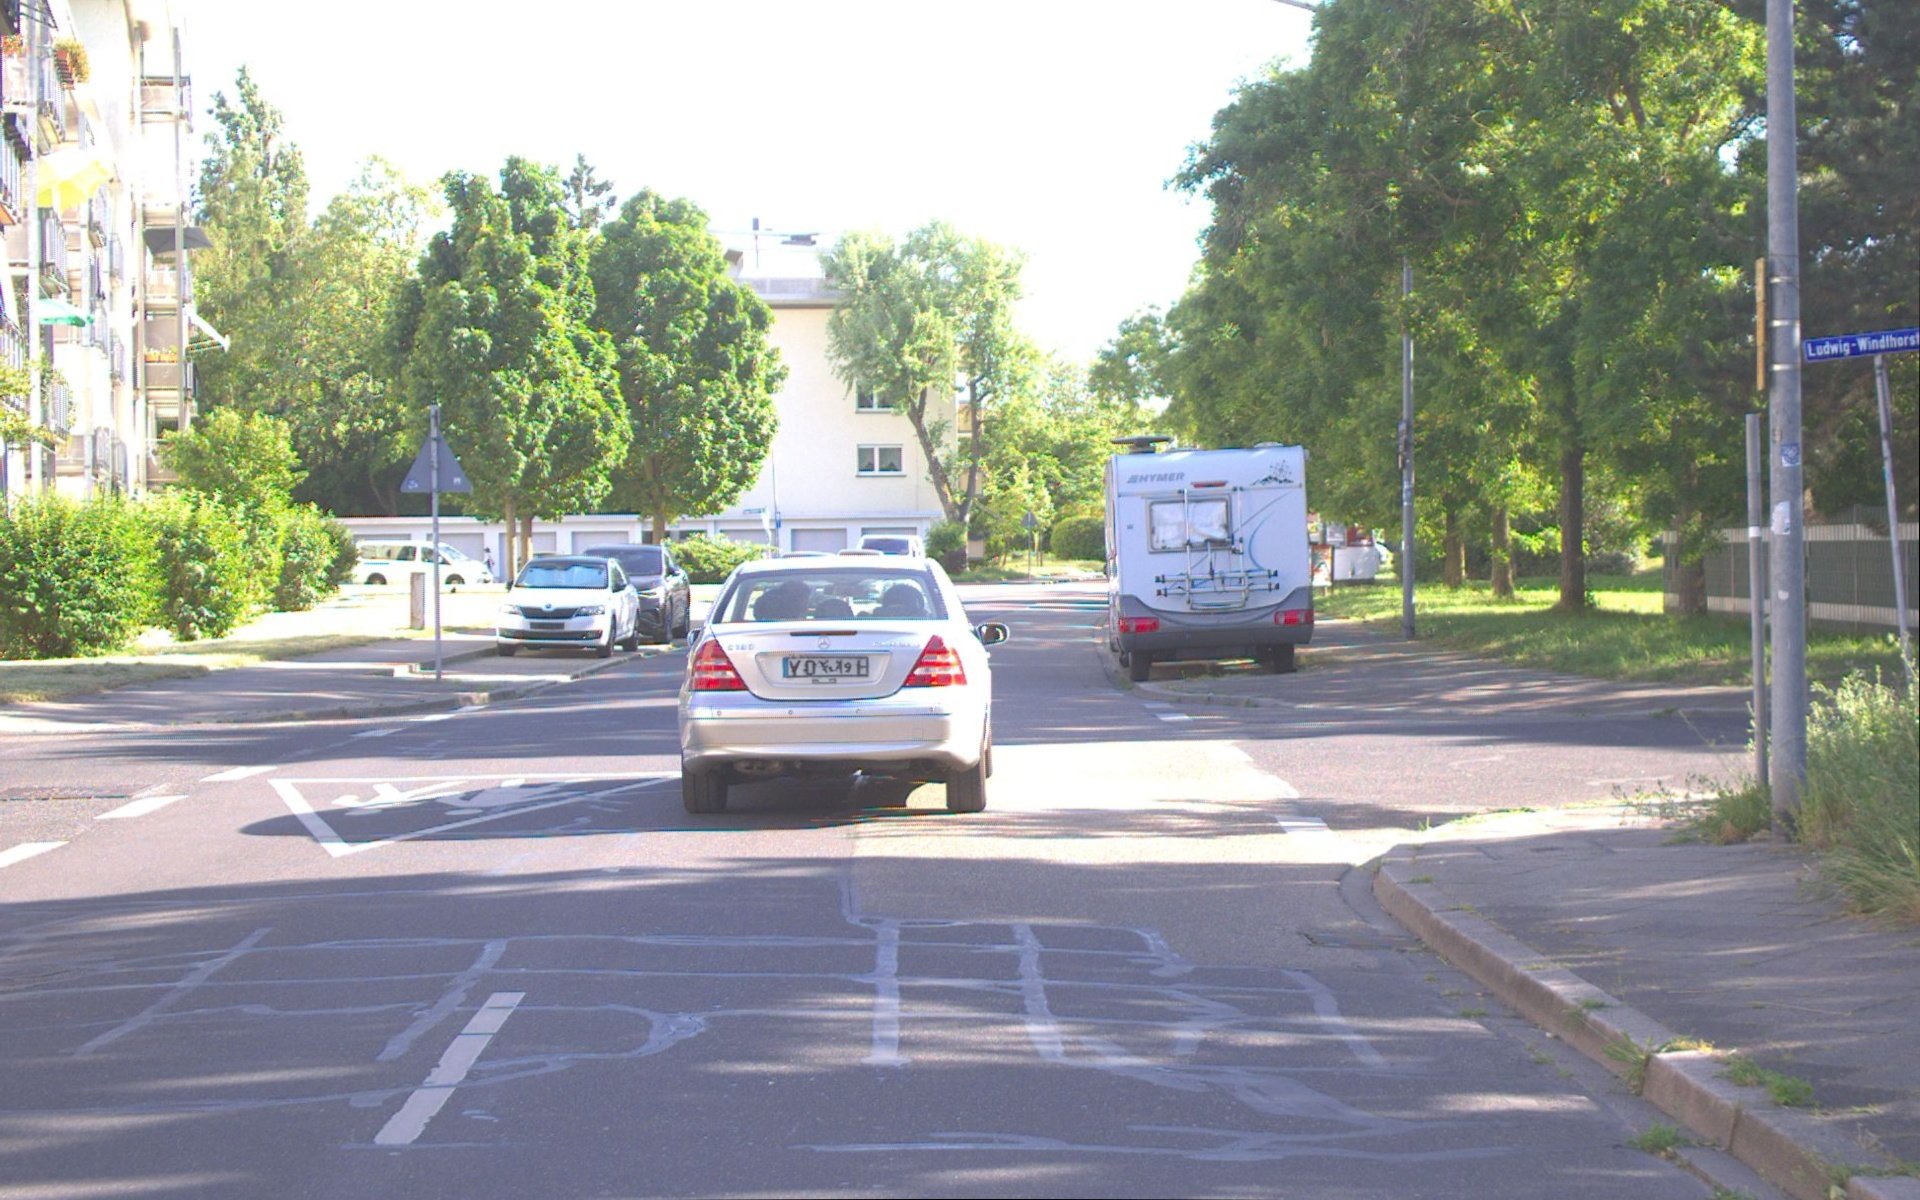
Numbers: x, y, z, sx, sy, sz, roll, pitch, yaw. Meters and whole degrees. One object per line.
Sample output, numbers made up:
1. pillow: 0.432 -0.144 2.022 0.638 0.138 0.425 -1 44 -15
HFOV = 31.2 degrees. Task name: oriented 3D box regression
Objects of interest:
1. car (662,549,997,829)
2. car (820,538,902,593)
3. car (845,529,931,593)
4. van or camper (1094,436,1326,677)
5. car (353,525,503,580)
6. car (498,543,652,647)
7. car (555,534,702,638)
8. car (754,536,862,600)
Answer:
1. car: -0.668 0.441 19.690 1.733 1.429 3.438 -1 1 1
2. car: -2.823 -1.006 99.111 1.833 1.513 4.221 1 1 6
3. car: -2.174 -1.214 105.571 2.015 1.879 5.190 1 1 6
4. van or camper: 2.950 -0.550 42.098 2.351 2.587 6.426 -4 1 1
5. car: -20.035 -1.794 129.549 5.108 1.944 2.236 -1 1 13
6. car: -5.696 -0.104 51.299 1.646 1.461 4.330 0 1 2
7. car: -5.502 -0.271 57.582 1.914 1.598 4.812 2 1 1
8. car: -3.768 -0.830 86.322 2.035 1.487 5.255 2 1 4
